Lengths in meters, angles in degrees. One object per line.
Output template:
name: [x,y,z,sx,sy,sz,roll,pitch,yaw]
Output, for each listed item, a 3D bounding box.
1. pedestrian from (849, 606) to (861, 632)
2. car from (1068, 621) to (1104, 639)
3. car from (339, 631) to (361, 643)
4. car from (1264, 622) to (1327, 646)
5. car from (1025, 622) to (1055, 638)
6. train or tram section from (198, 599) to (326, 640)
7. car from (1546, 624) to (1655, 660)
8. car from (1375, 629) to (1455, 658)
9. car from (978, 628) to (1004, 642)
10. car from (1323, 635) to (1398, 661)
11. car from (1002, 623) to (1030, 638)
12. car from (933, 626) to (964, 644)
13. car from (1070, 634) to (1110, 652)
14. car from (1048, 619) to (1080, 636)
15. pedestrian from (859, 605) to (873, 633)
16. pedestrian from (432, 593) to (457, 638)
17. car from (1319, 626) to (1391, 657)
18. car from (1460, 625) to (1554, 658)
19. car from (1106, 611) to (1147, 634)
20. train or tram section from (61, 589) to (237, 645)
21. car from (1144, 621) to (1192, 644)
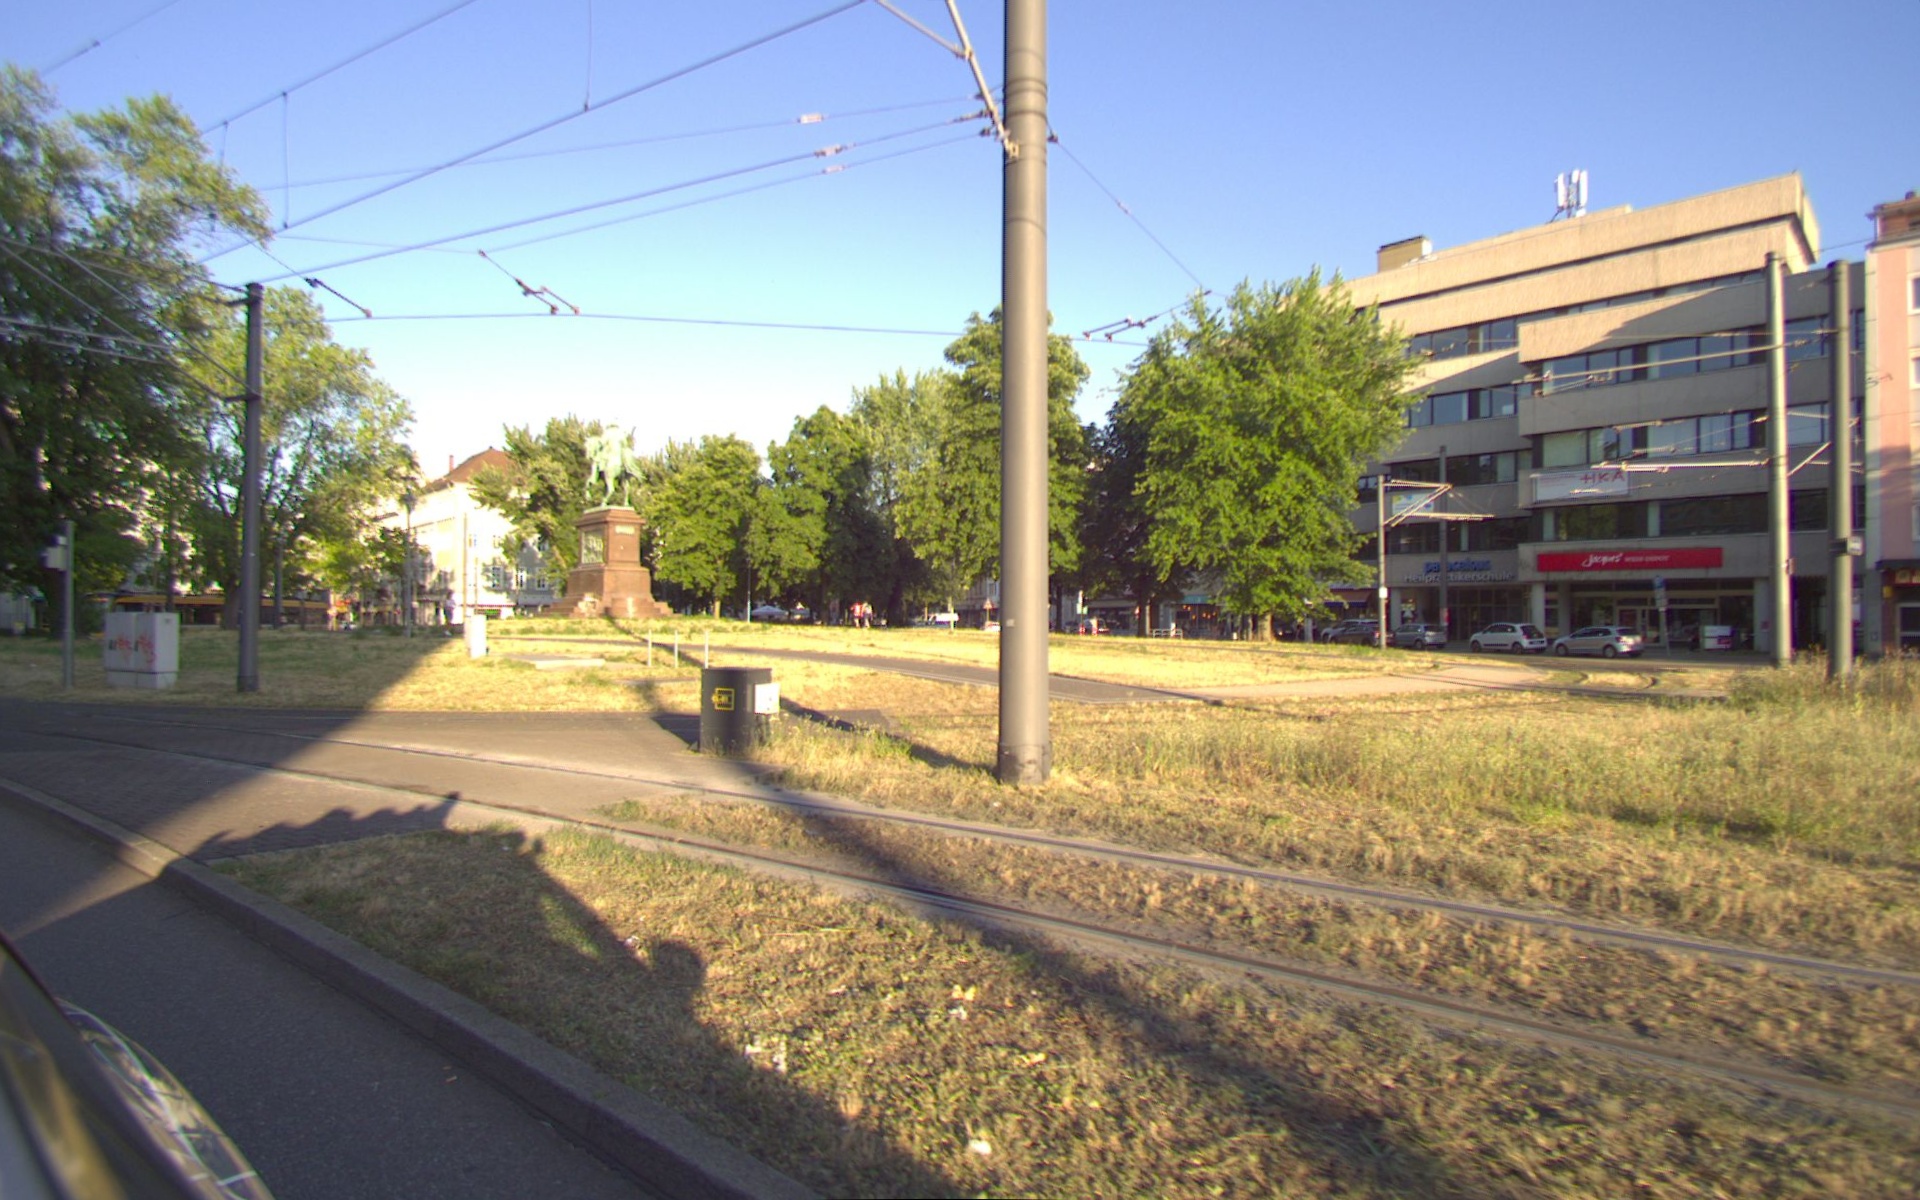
pedestrian: [-6.227,1.156,60.094,0.447,1.524,0.554,2,-3,-41]
car: [12.100,2.889,97.220,1.729,1.676,4.012,0,-3,-20]
car: [-79.686,4.820,132.225,1.698,1.564,3.972,2,-3,-42]
car: [22.679,2.329,68.495,1.833,1.568,4.081,0,-3,-20]
car: [8.515,3.205,108.219,1.767,1.592,4.012,0,-3,-17]
train or tram section: [-58.535,1.645,85.478,2.887,3.165,12.870,0,-1,-5]
car: [29.322,1.954,46.486,1.730,1.564,4.012,0,-3,-17]
car: [25.613,2.453,57.079,1.729,1.564,4.012,0,-3,-20]
car: [3.498,3.956,114.160,1.767,1.592,4.012,0,-3,-17]
car: [22.450,2.675,56.933,1.682,1.401,4.012,0,-3,-19]
car: [6.291,3.480,114.006,1.767,1.592,4.012,0,-3,-17]
car: [-1.069,3.184,92.693,1.767,1.592,4.012,0,-3,-17]
car: [11.561,3.819,90.015,1.833,1.568,4.081,0,-3,-20]
car: [10.515,2.775,102.266,1.767,1.592,4.012,0,-3,-17]
pedestrian: [-5.586,1.137,60.214,0.610,1.593,0.554,2,-3,-41]
pedestrian: [-20.009,0.615,39.293,0.833,1.703,0.471,-1,-3,33]
car: [24.184,2.565,62.144,1.729,1.808,4.222,0,-3,-20]
car: [27.725,2.114,51.425,1.729,1.564,4.012,0,-3,-20]
car: [14.680,1.998,89.422,1.729,1.959,4.222,0,-3,-20]
train or tram section: [-57.442,1.192,72.423,2.905,3.611,13.381,0,-1,-5]
car: [17.034,2.654,83.165,1.906,1.808,4.222,0,-3,-20]
